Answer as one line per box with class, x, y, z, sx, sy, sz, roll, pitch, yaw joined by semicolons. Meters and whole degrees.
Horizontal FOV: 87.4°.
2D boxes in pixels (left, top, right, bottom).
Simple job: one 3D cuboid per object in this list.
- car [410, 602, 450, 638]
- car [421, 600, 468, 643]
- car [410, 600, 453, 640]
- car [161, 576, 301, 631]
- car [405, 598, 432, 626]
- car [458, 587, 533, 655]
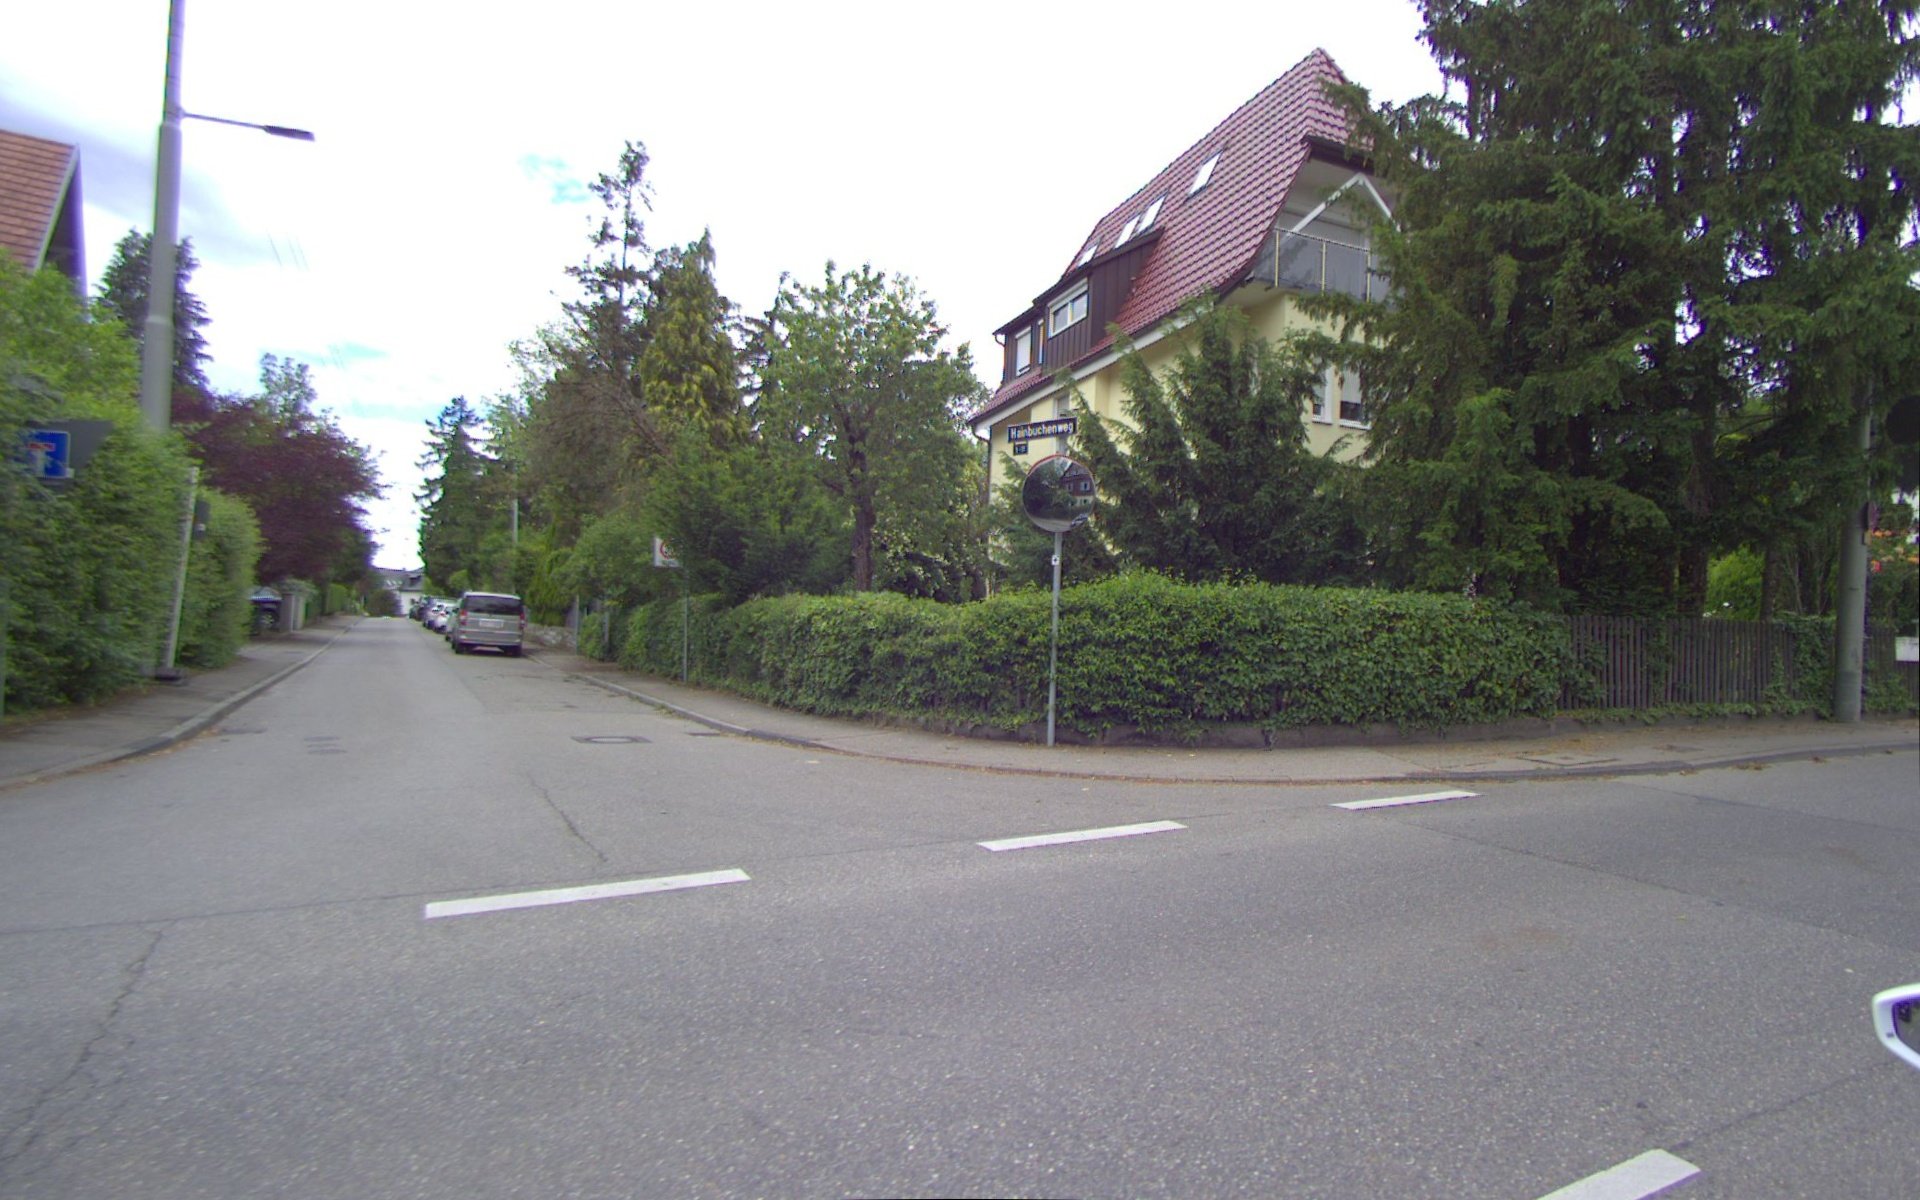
car;-30.618;1.138;58.094;1.975;2.040;3.971;1;-1;-28
car;-25.579;1.054;49.889;1.975;2.040;3.971;1;-1;-28
car;-28.357;1.055;53.941;1.975;2.040;3.971;1;-1;-28
car;-26.829;0.174;37.165;3.953;1.918;1.984;1;-1;-30
car;-39.991;0.886;74.218;1.648;2.040;3.871;1;-1;-28
car;-14.891;0.656;32.124;1.975;2.040;3.971;1;-1;-28
